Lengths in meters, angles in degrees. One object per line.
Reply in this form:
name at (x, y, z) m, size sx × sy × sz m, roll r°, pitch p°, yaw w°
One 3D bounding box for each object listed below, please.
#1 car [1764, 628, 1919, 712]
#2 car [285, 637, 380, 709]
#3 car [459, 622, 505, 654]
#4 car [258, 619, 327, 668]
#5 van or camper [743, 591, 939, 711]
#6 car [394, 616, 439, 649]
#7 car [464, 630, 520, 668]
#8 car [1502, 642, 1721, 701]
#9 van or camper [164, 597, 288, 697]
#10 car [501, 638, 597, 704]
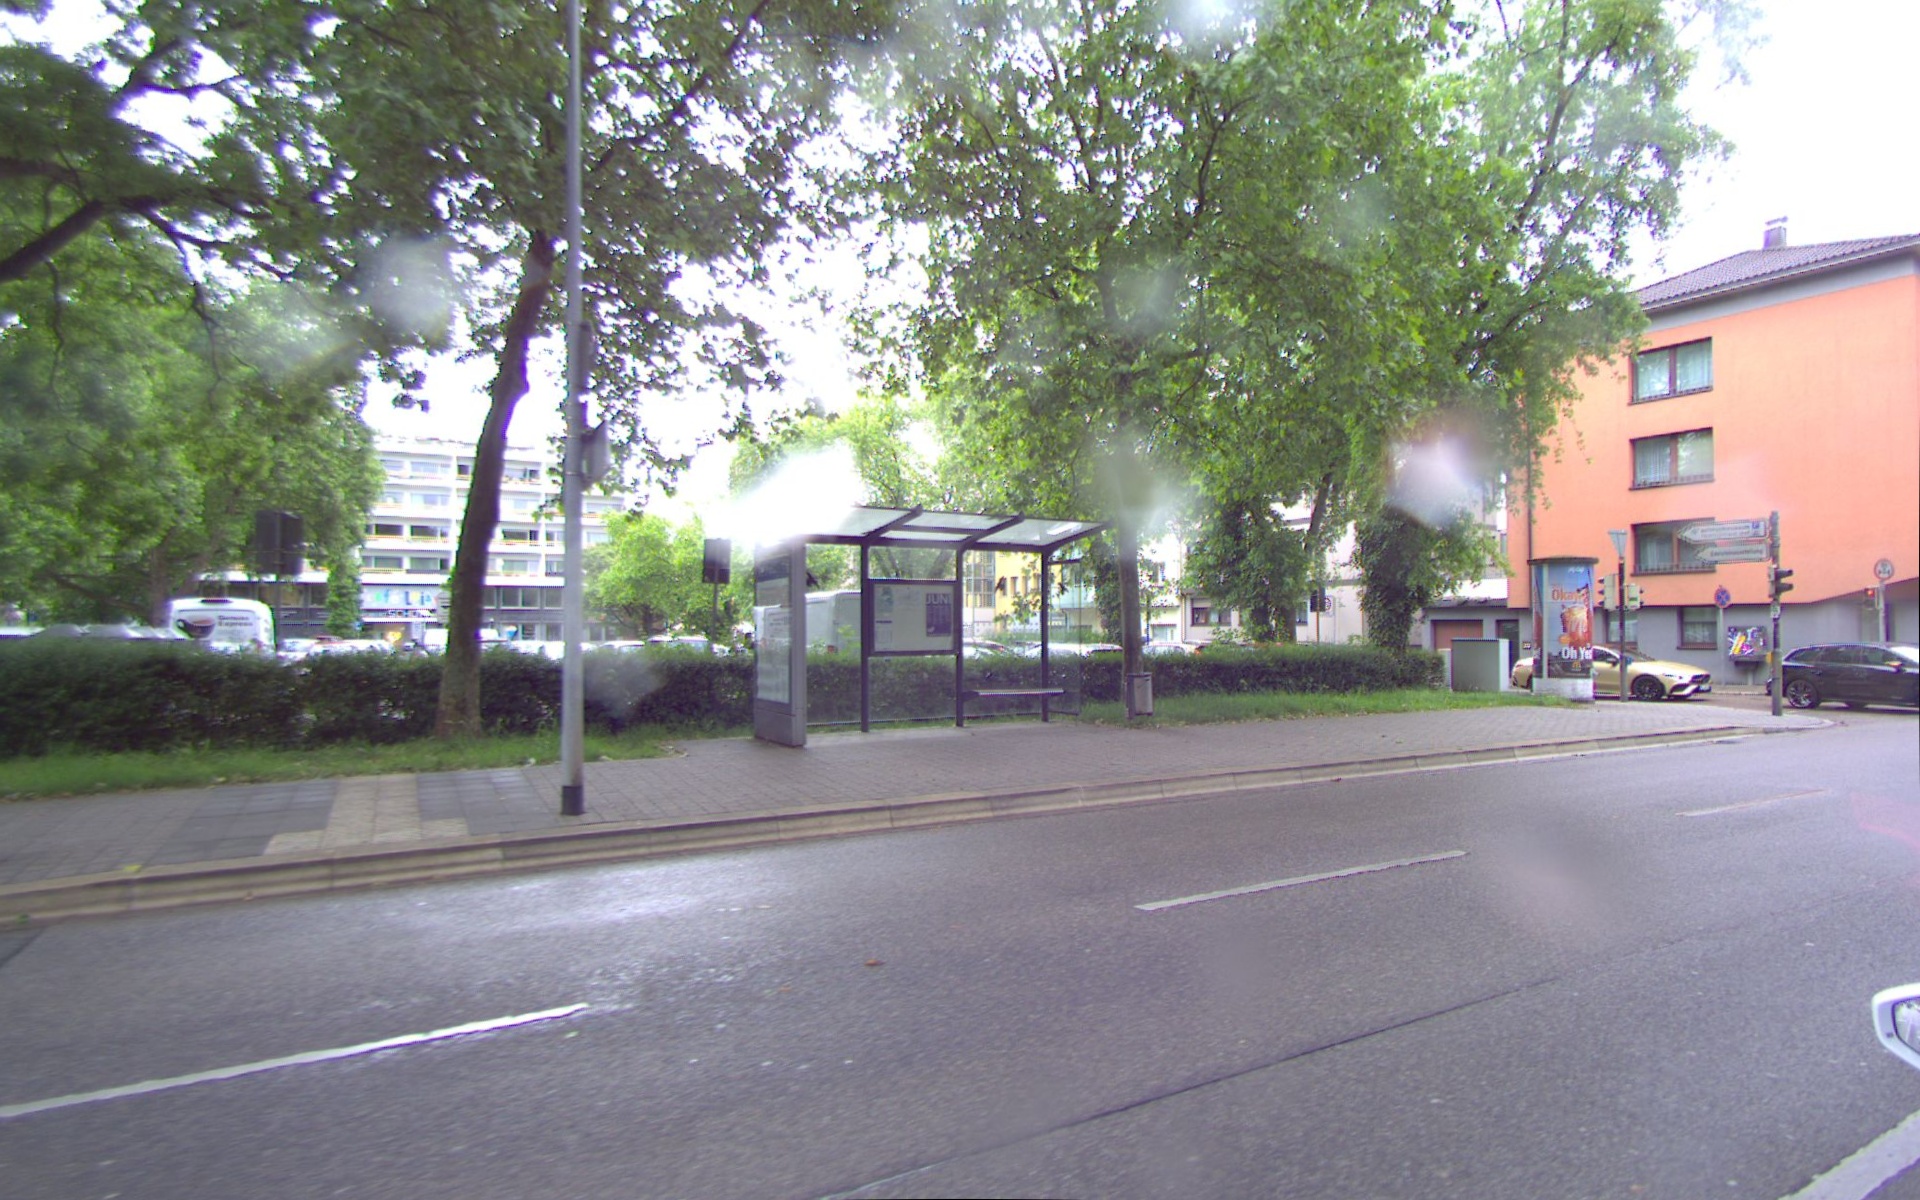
car at (19.518, 1.417, 20.874) m, size 1.820 × 1.646 × 4.127 m, roll 0°, pitch -3°, yaw -14°
car at (-15.862, 1.780, 25.500) m, size 1.876 × 1.506 × 3.966 m, roll 2°, pitch 0°, yaw -31°
car at (-25.987, 2.028, 54.532) m, size 1.876 × 1.506 × 3.966 m, roll 2°, pitch 0°, yaw -31°
car at (-24.066, 1.534, 36.331) m, size 1.876 × 1.506 × 3.966 m, roll 2°, pitch 0°, yaw -31°
van or camper at (-2.388, 0.914, 19.021) m, size 1.978 × 1.975 × 4.572 m, roll 1°, pitch -2°, yaw -31°
car at (-31.501, 1.865, 58.198) m, size 2.075 × 1.745 × 3.966 m, roll 2°, pitch 0°, yaw -31°
car at (-21.122, 2.175, 45.282) m, size 1.876 × 1.506 × 3.966 m, roll 2°, pitch 0°, yaw -31°
car at (17.298, 1.857, 26.948) m, size 1.809 × 1.422 × 4.618 m, roll 1°, pitch -3°, yaw -28°
van or camper at (-19.630, 1.230, 27.084) m, size 2.073 × 2.463 × 4.310 m, roll 1°, pitch -2°, yaw -28°
car at (-11.520, 1.905, 28.013) m, size 1.876 × 1.506 × 3.966 m, roll 2°, pitch 0°, yaw -31°
